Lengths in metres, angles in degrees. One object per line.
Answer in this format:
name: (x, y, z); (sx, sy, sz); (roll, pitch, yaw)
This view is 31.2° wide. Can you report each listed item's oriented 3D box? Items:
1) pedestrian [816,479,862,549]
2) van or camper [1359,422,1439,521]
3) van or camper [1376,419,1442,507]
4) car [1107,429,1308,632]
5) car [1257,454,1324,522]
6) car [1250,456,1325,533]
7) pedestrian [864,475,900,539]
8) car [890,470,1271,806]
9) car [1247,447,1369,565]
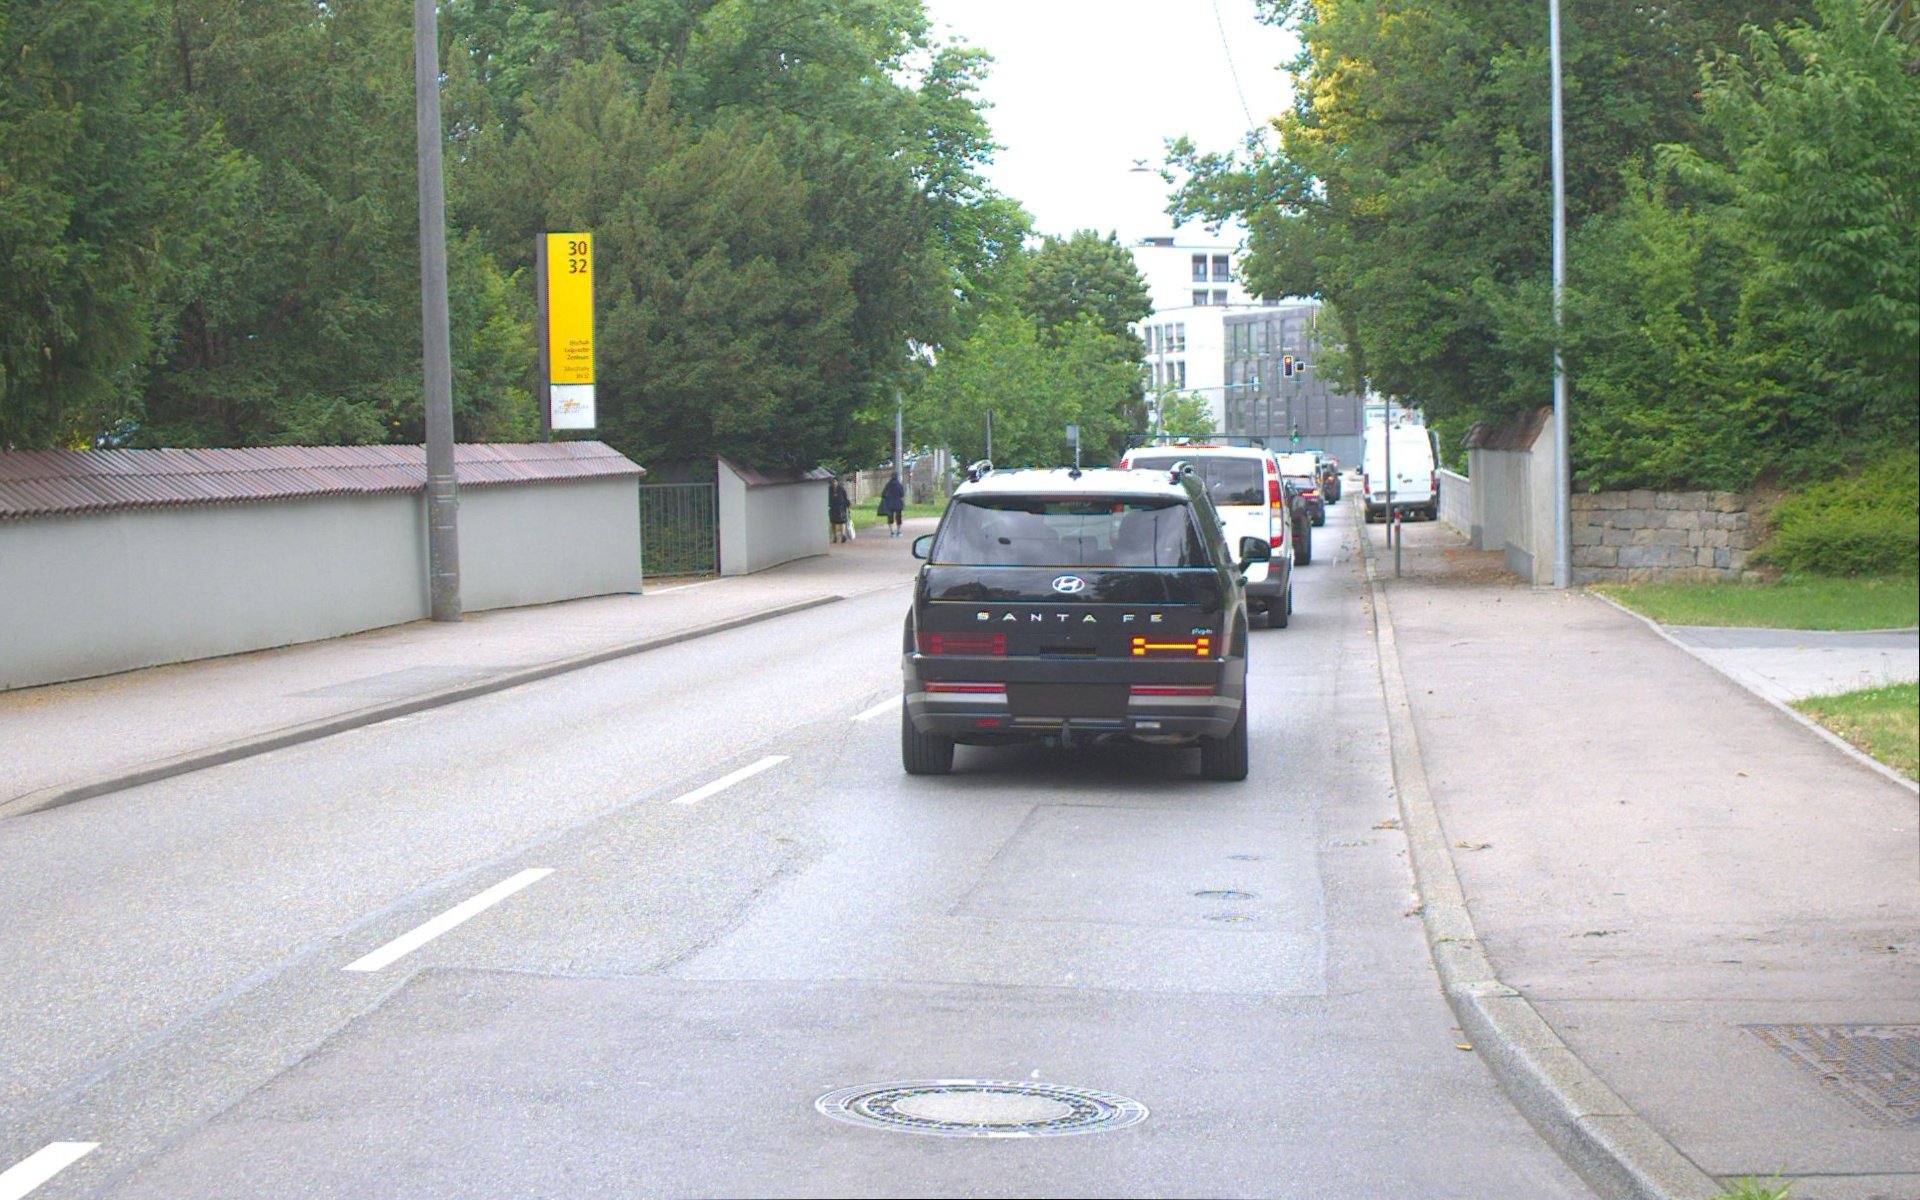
pedestrian: (-2.752, -1.956, 78.472); (0.925, 1.555, 0.902); (2, 1, 3)
van or camper: (12.335, -3.632, 96.883); (1.964, 2.618, 6.358); (-3, 2, 6)
van or camper: (15.053, -4.601, 115.491); (1.964, 2.787, 5.286); (-2, 2, 6)
car: (2.703, -0.769, 36.807); (1.964, 1.994, 4.000); (-2, 2, 6)
car: (10.182, -3.439, 105.686); (1.964, 1.994, 3.999); (-1, 1, 6)
car: (8.942, -2.864, 93.695); (1.964, 1.994, 3.999); (-1, 1, 6)
pedestrian: (-1.917, -2.300, 85.004); (0.749, 1.572, 0.966); (1, 2, 7)
car: (0.702, 0.122, 19.881); (1.964, 1.705, 4.000); (1, 2, 2)
car: (5.937, -1.606, 58.656); (1.964, 1.896, 3.999); (-1, 1, 6)
